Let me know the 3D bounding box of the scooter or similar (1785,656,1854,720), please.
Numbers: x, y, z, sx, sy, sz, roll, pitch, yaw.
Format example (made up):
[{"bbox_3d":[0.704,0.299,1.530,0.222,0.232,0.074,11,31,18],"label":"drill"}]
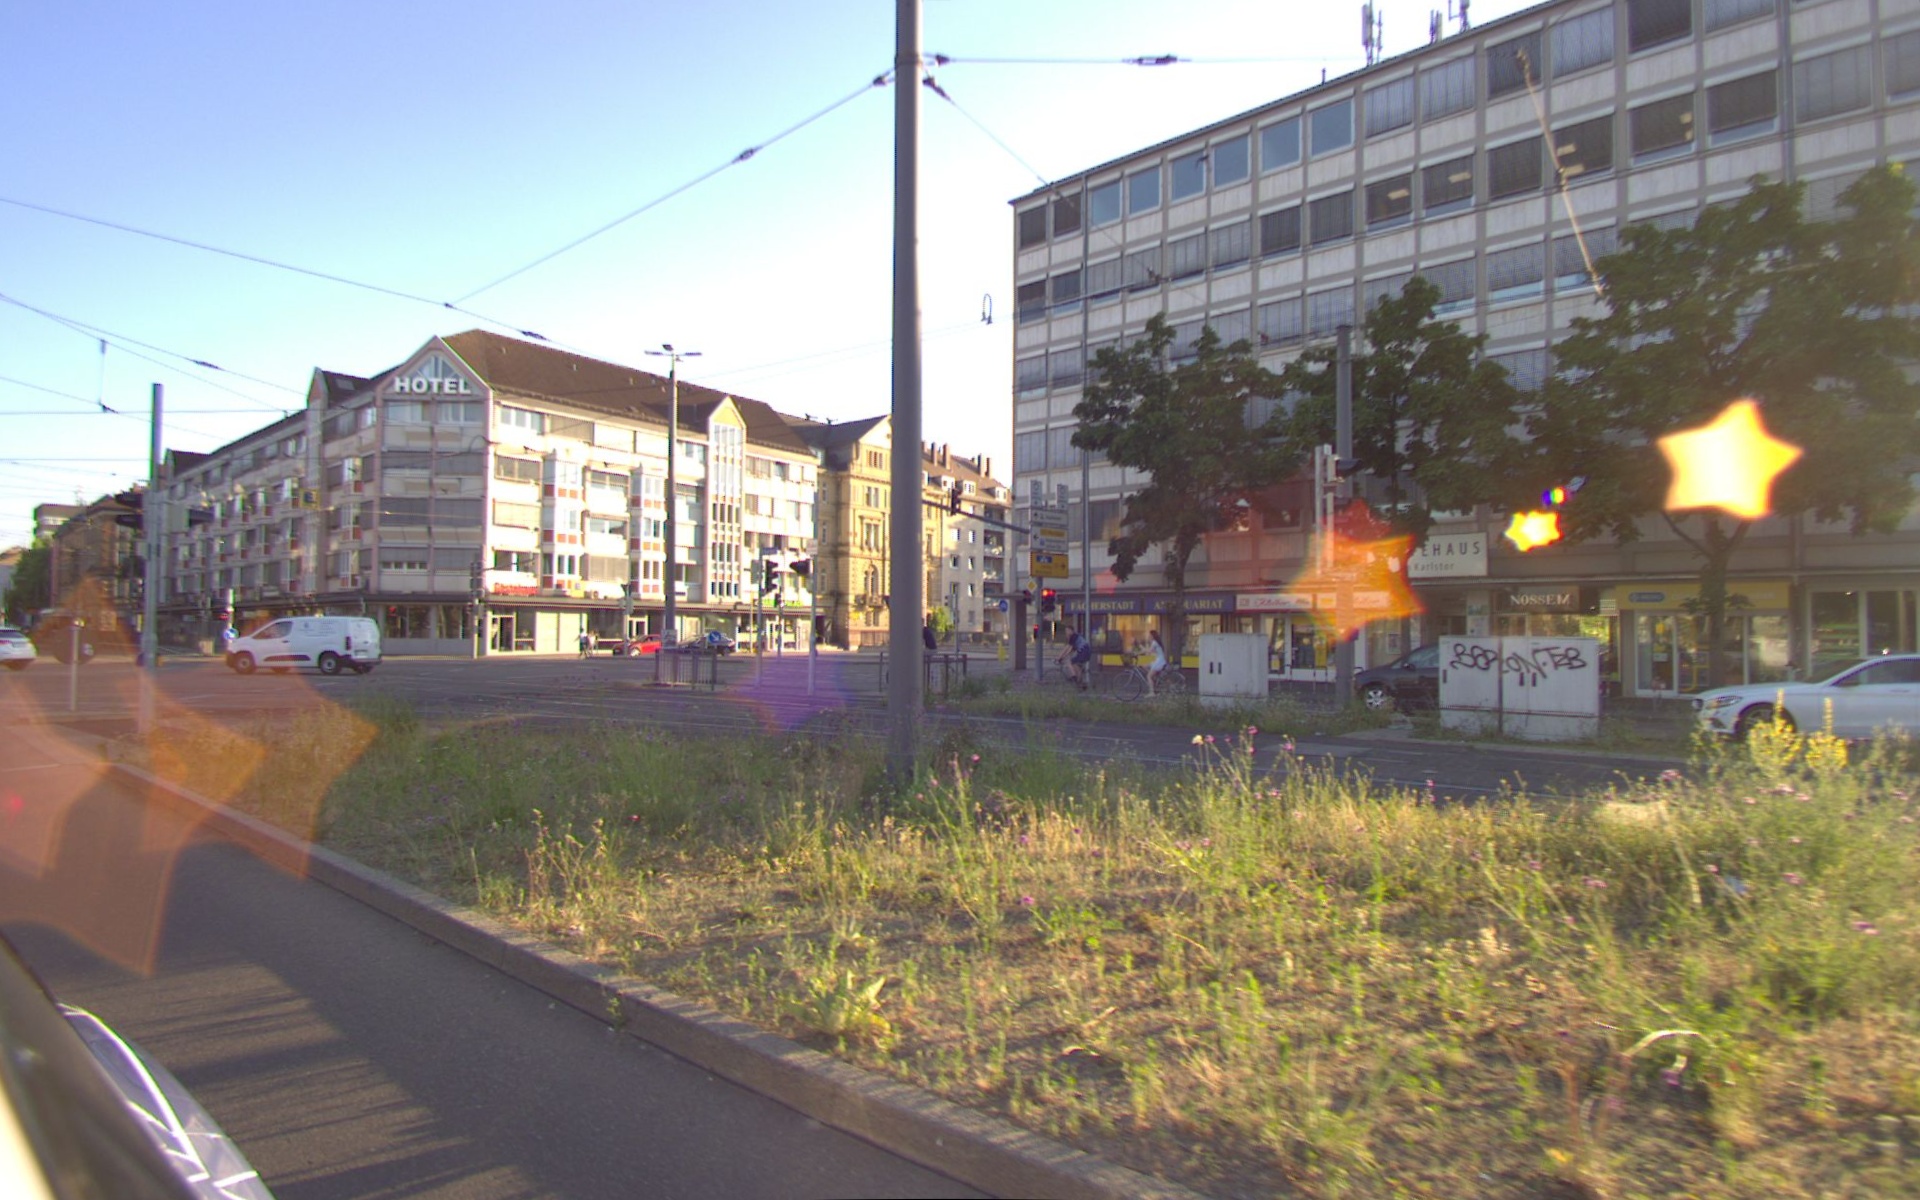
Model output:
[{"bbox_3d":[18.402,1.881,21.670,1.259,1.332,0.516,1,-3,-18],"label":"scooter or similar"}]

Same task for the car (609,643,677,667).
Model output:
[{"bbox_3d":[-19.842,3.443,63.398,1.646,1.433,3.849,-1,-3,35],"label":"car"}]

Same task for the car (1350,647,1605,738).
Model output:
[{"bbox_3d":[10.447,1.781,20.597,4.300,1.586,1.973,-1,-3,41],"label":"car"}]

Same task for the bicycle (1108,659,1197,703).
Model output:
[{"bbox_3d":[4.398,1.838,23.125,1.939,0.937,0.720,0,-2,19],"label":"bicycle"}]

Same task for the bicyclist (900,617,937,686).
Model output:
[{"bbox_3d":[-1.011,1.240,24.565,0.694,1.624,0.733,0,-2,17],"label":"bicyclist"}]

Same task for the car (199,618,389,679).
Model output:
[{"bbox_3d":[-21.109,1.522,32.203,4.811,1.852,1.999,0,-2,3],"label":"car"}]

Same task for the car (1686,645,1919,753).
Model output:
[{"bbox_3d":[13.742,1.433,14.977,4.642,1.452,2.020,-1,-2,30],"label":"car"}]

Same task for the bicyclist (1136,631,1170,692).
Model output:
[{"bbox_3d":[4.421,1.395,23.136,0.679,1.380,0.711,0,-3,20],"label":"bicyclist"}]

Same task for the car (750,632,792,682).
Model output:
[{"bbox_3d":[-12.757,3.897,68.490,2.190,1.566,4.619,-11,-20,-9],"label":"car"}]

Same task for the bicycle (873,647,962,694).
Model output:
[{"bbox_3d":[-1.026,1.685,24.551,2.040,1.084,0.752,0,-2,17],"label":"bicycle"}]

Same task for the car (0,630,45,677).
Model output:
[{"bbox_3d":[-32.430,1.671,32.377,4.494,1.460,1.818,1,-2,-4],"label":"car"}]
